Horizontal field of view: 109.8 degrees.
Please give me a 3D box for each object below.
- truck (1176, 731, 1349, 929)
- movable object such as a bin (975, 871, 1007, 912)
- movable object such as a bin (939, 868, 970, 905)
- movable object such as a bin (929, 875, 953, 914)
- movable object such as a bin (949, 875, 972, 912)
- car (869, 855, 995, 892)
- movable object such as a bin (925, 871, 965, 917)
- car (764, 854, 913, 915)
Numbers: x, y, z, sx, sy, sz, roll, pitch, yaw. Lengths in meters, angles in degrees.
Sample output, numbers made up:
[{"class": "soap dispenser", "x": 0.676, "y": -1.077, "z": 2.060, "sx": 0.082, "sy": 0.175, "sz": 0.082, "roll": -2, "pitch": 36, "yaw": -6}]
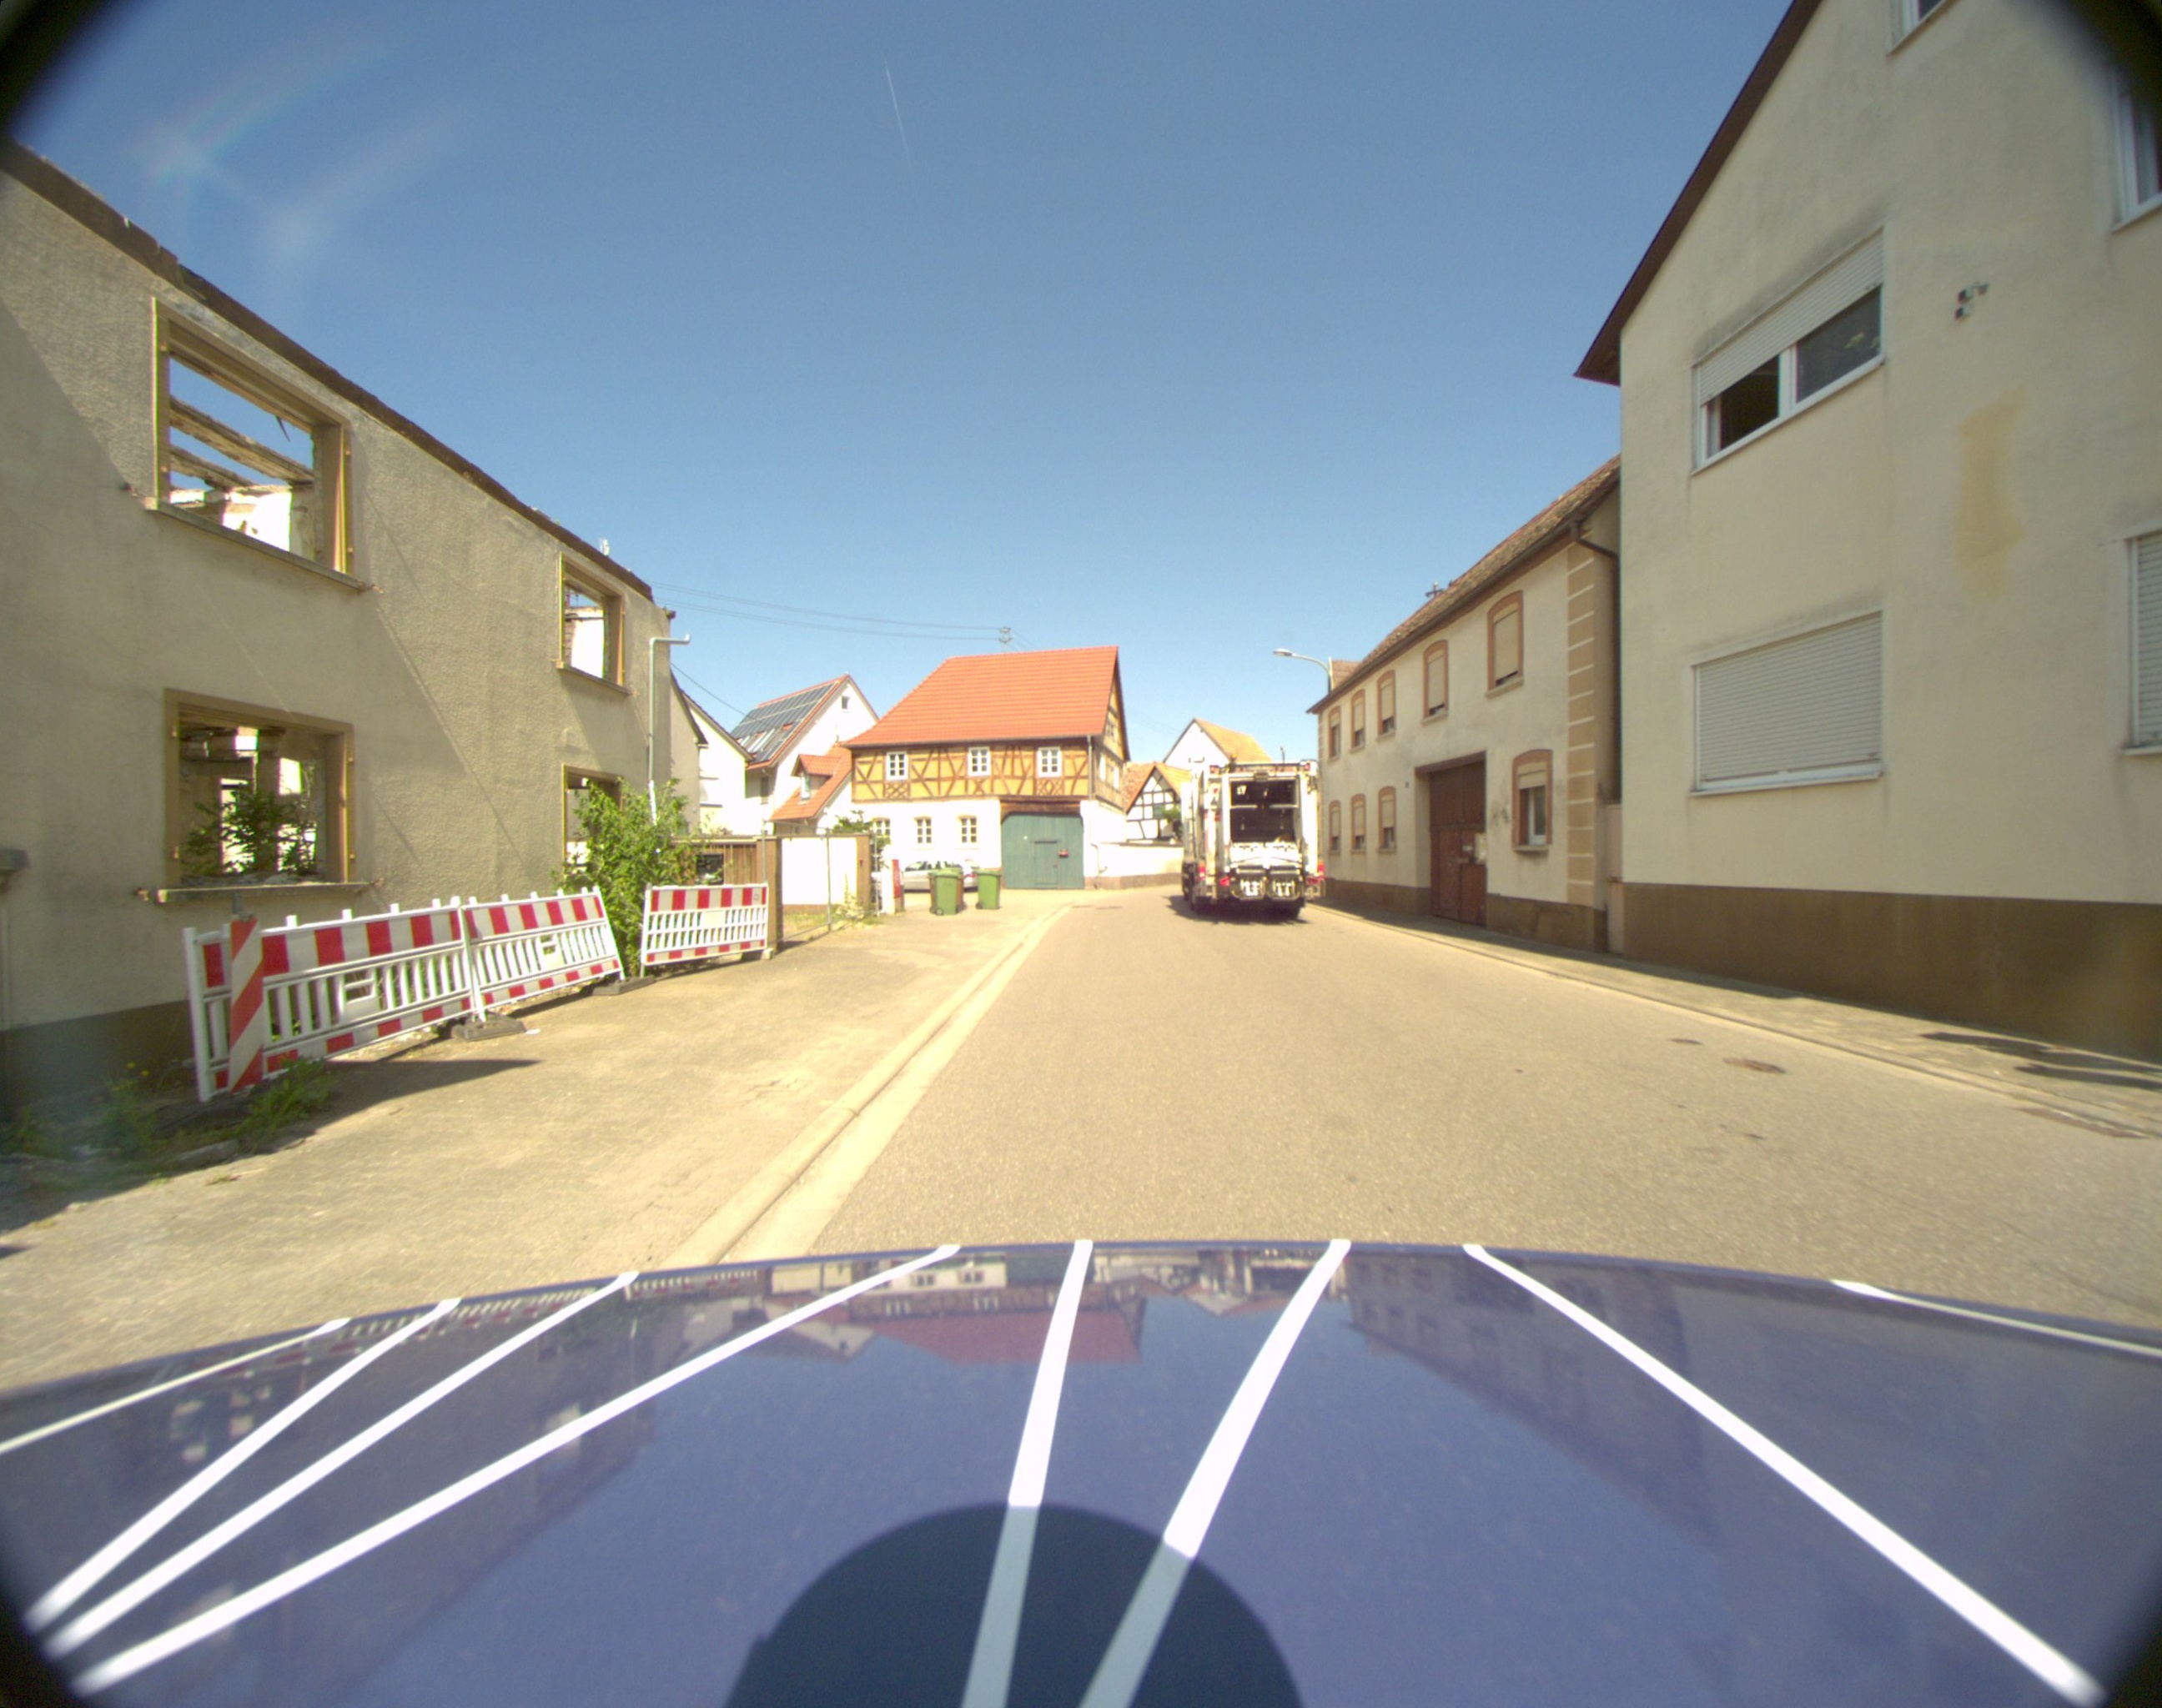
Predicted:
[{"class": "truck", "x": 4.104, "y": -0.505, "z": 19.842, "sx": 2.701, "sy": 3.728, "sz": 10.871, "roll": 0, "pitch": 1, "yaw": 4}, {"class": "movable object such as a bin", "x": -2.453, "y": 1.008, "z": 20.738, "sx": 0.688, "sy": 1.086, "sz": 0.638, "roll": 0, "pitch": 1, "yaw": 10}, {"class": "movable object such as a bin", "x": -3.810, "y": 0.981, "z": 22.981, "sx": 0.721, "sy": 1.075, "sz": 0.755, "roll": 0, "pitch": 1, "yaw": 7}, {"class": "movable object such as a bin", "x": -3.657, "y": 1.052, "z": 19.851, "sx": 0.465, "sy": 0.965, "sz": 0.496, "roll": 0, "pitch": 1, "yaw": 10}, {"class": "movable object such as a bin", "x": -3.160, "y": 1.027, "z": 19.876, "sx": 0.445, "sy": 0.944, "sz": 0.463, "roll": -1, "pitch": 1, "yaw": 11}, {"class": "car", "x": -6.185, "y": 0.795, "z": 31.791, "sx": 4.759, "sy": 1.444, "sz": 2.002, "roll": 0, "pitch": 1, "yaw": 13}, {"class": "movable object such as a bin", "x": -3.327, "y": 0.962, "z": 18.571, "sx": 0.763, "sy": 1.066, "sz": 0.671, "roll": -1, "pitch": 1, "yaw": -30}, {"class": "car", "x": -6.645, "y": 0.770, "z": 21.348, "sx": 1.812, "sy": 1.519, "sz": 4.302, "roll": 0, "pitch": 0, "yaw": 18}]
